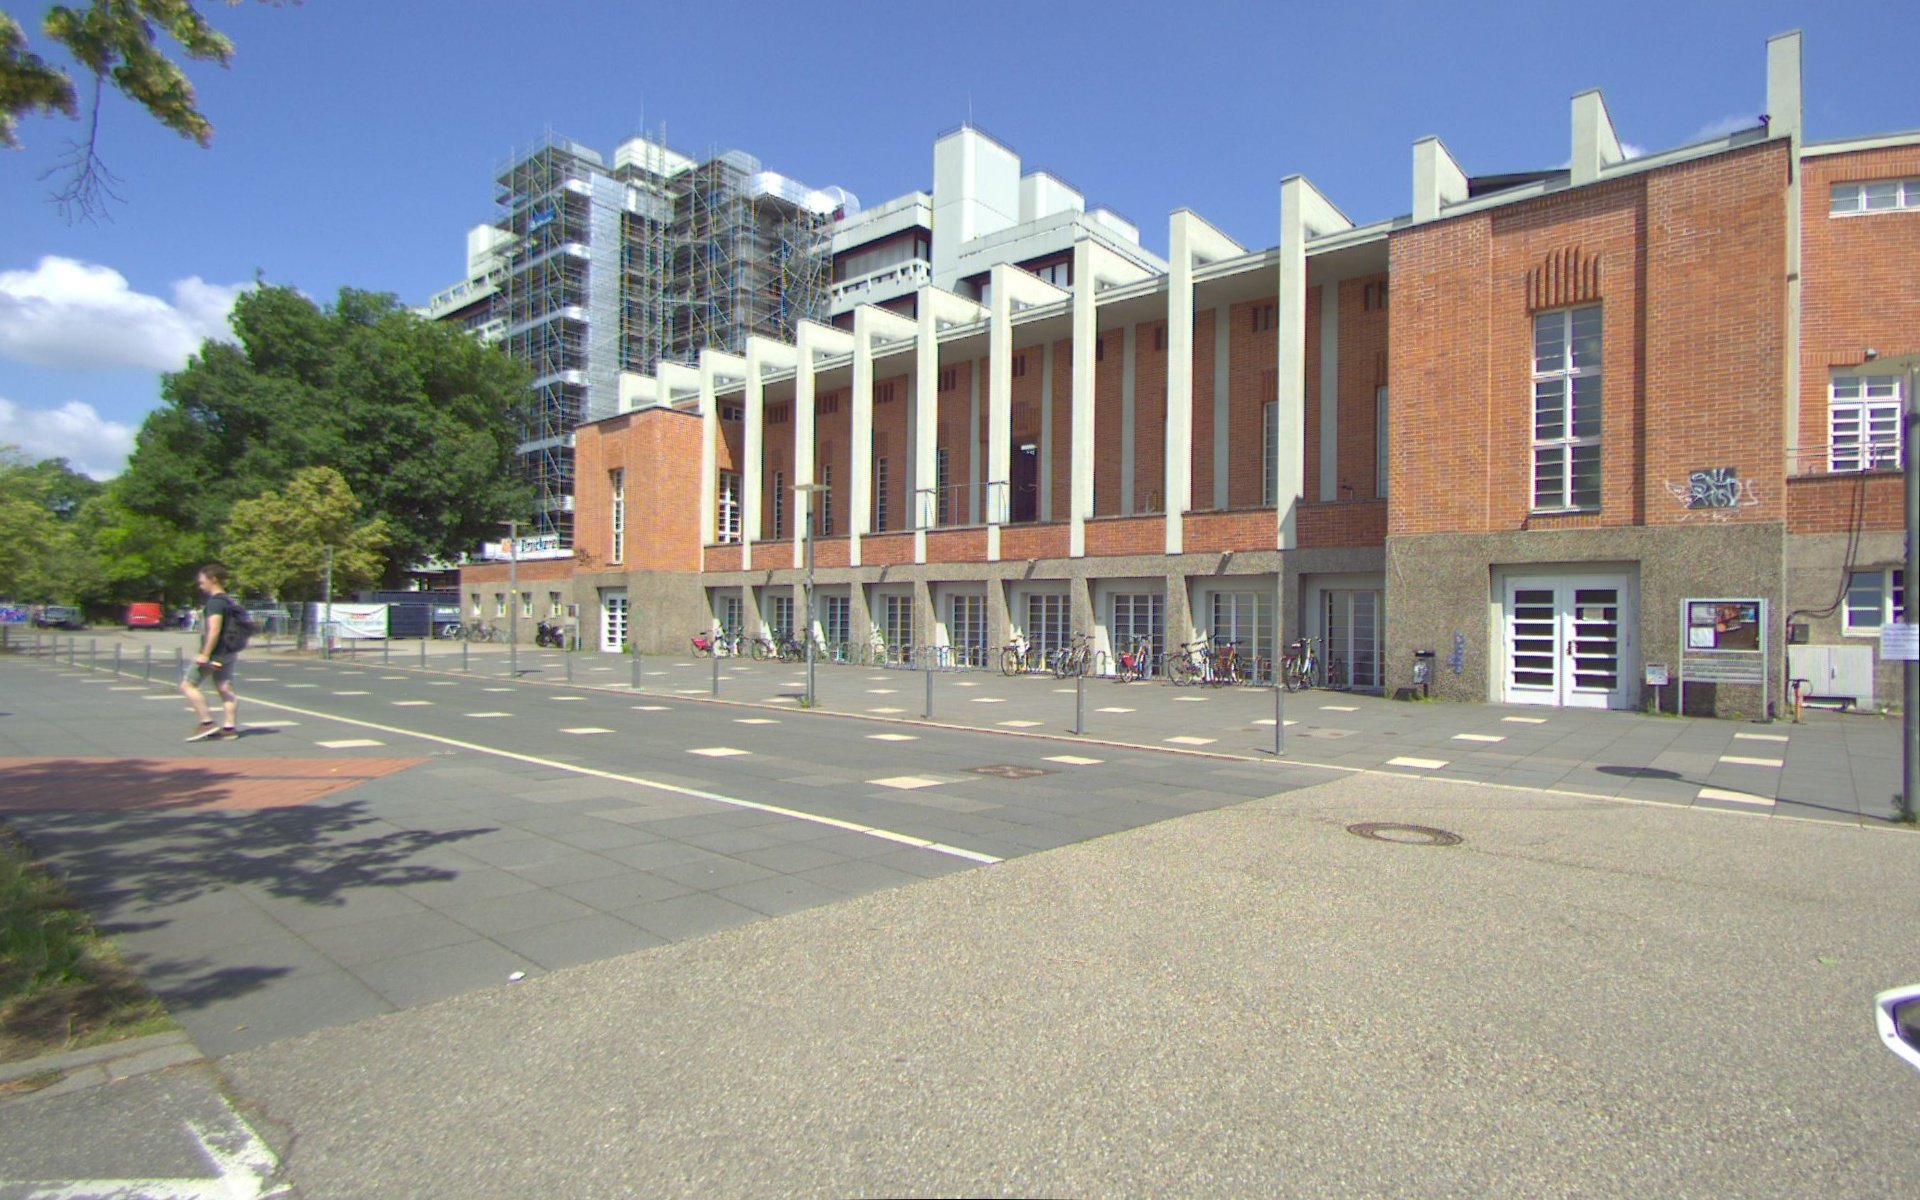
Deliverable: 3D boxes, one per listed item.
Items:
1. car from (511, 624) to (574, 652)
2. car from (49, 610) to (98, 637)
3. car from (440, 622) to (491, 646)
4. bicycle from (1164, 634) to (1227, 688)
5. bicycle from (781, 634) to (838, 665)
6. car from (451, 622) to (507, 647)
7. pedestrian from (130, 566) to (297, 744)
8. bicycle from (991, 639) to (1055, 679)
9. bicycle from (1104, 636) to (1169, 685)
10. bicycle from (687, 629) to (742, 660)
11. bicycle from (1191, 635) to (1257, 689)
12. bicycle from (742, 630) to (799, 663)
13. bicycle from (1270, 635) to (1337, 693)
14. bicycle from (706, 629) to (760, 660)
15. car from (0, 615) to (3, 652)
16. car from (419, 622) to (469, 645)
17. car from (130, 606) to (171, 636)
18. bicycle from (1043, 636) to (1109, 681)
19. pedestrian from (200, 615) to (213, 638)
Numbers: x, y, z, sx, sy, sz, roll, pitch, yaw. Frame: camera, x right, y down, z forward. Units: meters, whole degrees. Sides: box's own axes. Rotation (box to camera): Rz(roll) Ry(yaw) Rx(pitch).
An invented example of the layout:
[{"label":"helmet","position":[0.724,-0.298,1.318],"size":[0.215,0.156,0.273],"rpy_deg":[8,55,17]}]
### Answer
[{"label":"car","position":[-18.438,1.684,44.391],"size":[0.623,1.196,2.516],"rpy_deg":[0,-1,42]},{"label":"car","position":[-73.167,1.951,82.954],"size":[2.002,2.119,4.401],"rpy_deg":[1,-1,-28]},{"label":"car","position":[-25.184,1.720,51.219],"size":[0.517,1.196,2.278],"rpy_deg":[0,-1,42]},{"label":"bicycle","position":[5.461,1.384,23.212],"size":[0.433,1.141,2.015],"rpy_deg":[0,0,44]},{"label":"bicycle","position":[-4.854,1.576,32.442],"size":[0.560,0.953,1.948],"rpy_deg":[0,-1,40]},{"label":"car","position":[-23.894,1.691,49.941],"size":[0.783,1.196,2.357],"rpy_deg":[0,-1,42]},{"label":"pedestrian","position":[-8.085,0.605,10.961],"size":[1.155,1.823,1.016],"rpy_deg":[3,-3,-22]},{"label":"bicycle","position":[1.669,1.528,26.433],"size":[0.674,0.973,1.948],"rpy_deg":[0,-1,40]},{"label":"bicycle","position":[4.245,1.416,24.025],"size":[0.612,1.096,2.007],"rpy_deg":[0,-1,40]},{"label":"bicycle","position":[-8.675,1.559,35.556],"size":[0.534,1.043,1.948],"rpy_deg":[0,-1,40]},{"label":"bicycle","position":[5.946,1.355,22.533],"size":[0.584,1.140,2.017],"rpy_deg":[0,-1,42]},{"label":"bicycle","position":[-6.268,1.534,33.307],"size":[0.522,1.043,1.948],"rpy_deg":[0,-1,40]},{"label":"bicycle","position":[7.295,1.331,21.274],"size":[0.657,1.140,2.019],"rpy_deg":[0,-1,40]},{"label":"bicycle","position":[-7.898,1.528,35.001],"size":[0.511,1.043,1.948],"rpy_deg":[0,-1,40]},{"label":"car","position":[-38.698,1.275,39.208],"size":[3.401,1.404,1.546],"rpy_deg":[0,-1,40]},{"label":"car","position":[-27.069,1.743,52.735],"size":[0.472,1.196,2.314],"rpy_deg":[0,-1,42]},{"label":"car","position":[-53.372,1.392,66.211],"size":[1.900,1.906,3.951],"rpy_deg":[1,-2,-42]},{"label":"bicycle","position":[2.943,1.448,25.335],"size":[0.653,1.075,2.019],"rpy_deg":[0,-1,40]},{"label":"pedestrian","position":[-49.820,1.760,66.399],"size":[0.637,1.559,0.448],"rpy_deg":[1,-1,-38]}]
